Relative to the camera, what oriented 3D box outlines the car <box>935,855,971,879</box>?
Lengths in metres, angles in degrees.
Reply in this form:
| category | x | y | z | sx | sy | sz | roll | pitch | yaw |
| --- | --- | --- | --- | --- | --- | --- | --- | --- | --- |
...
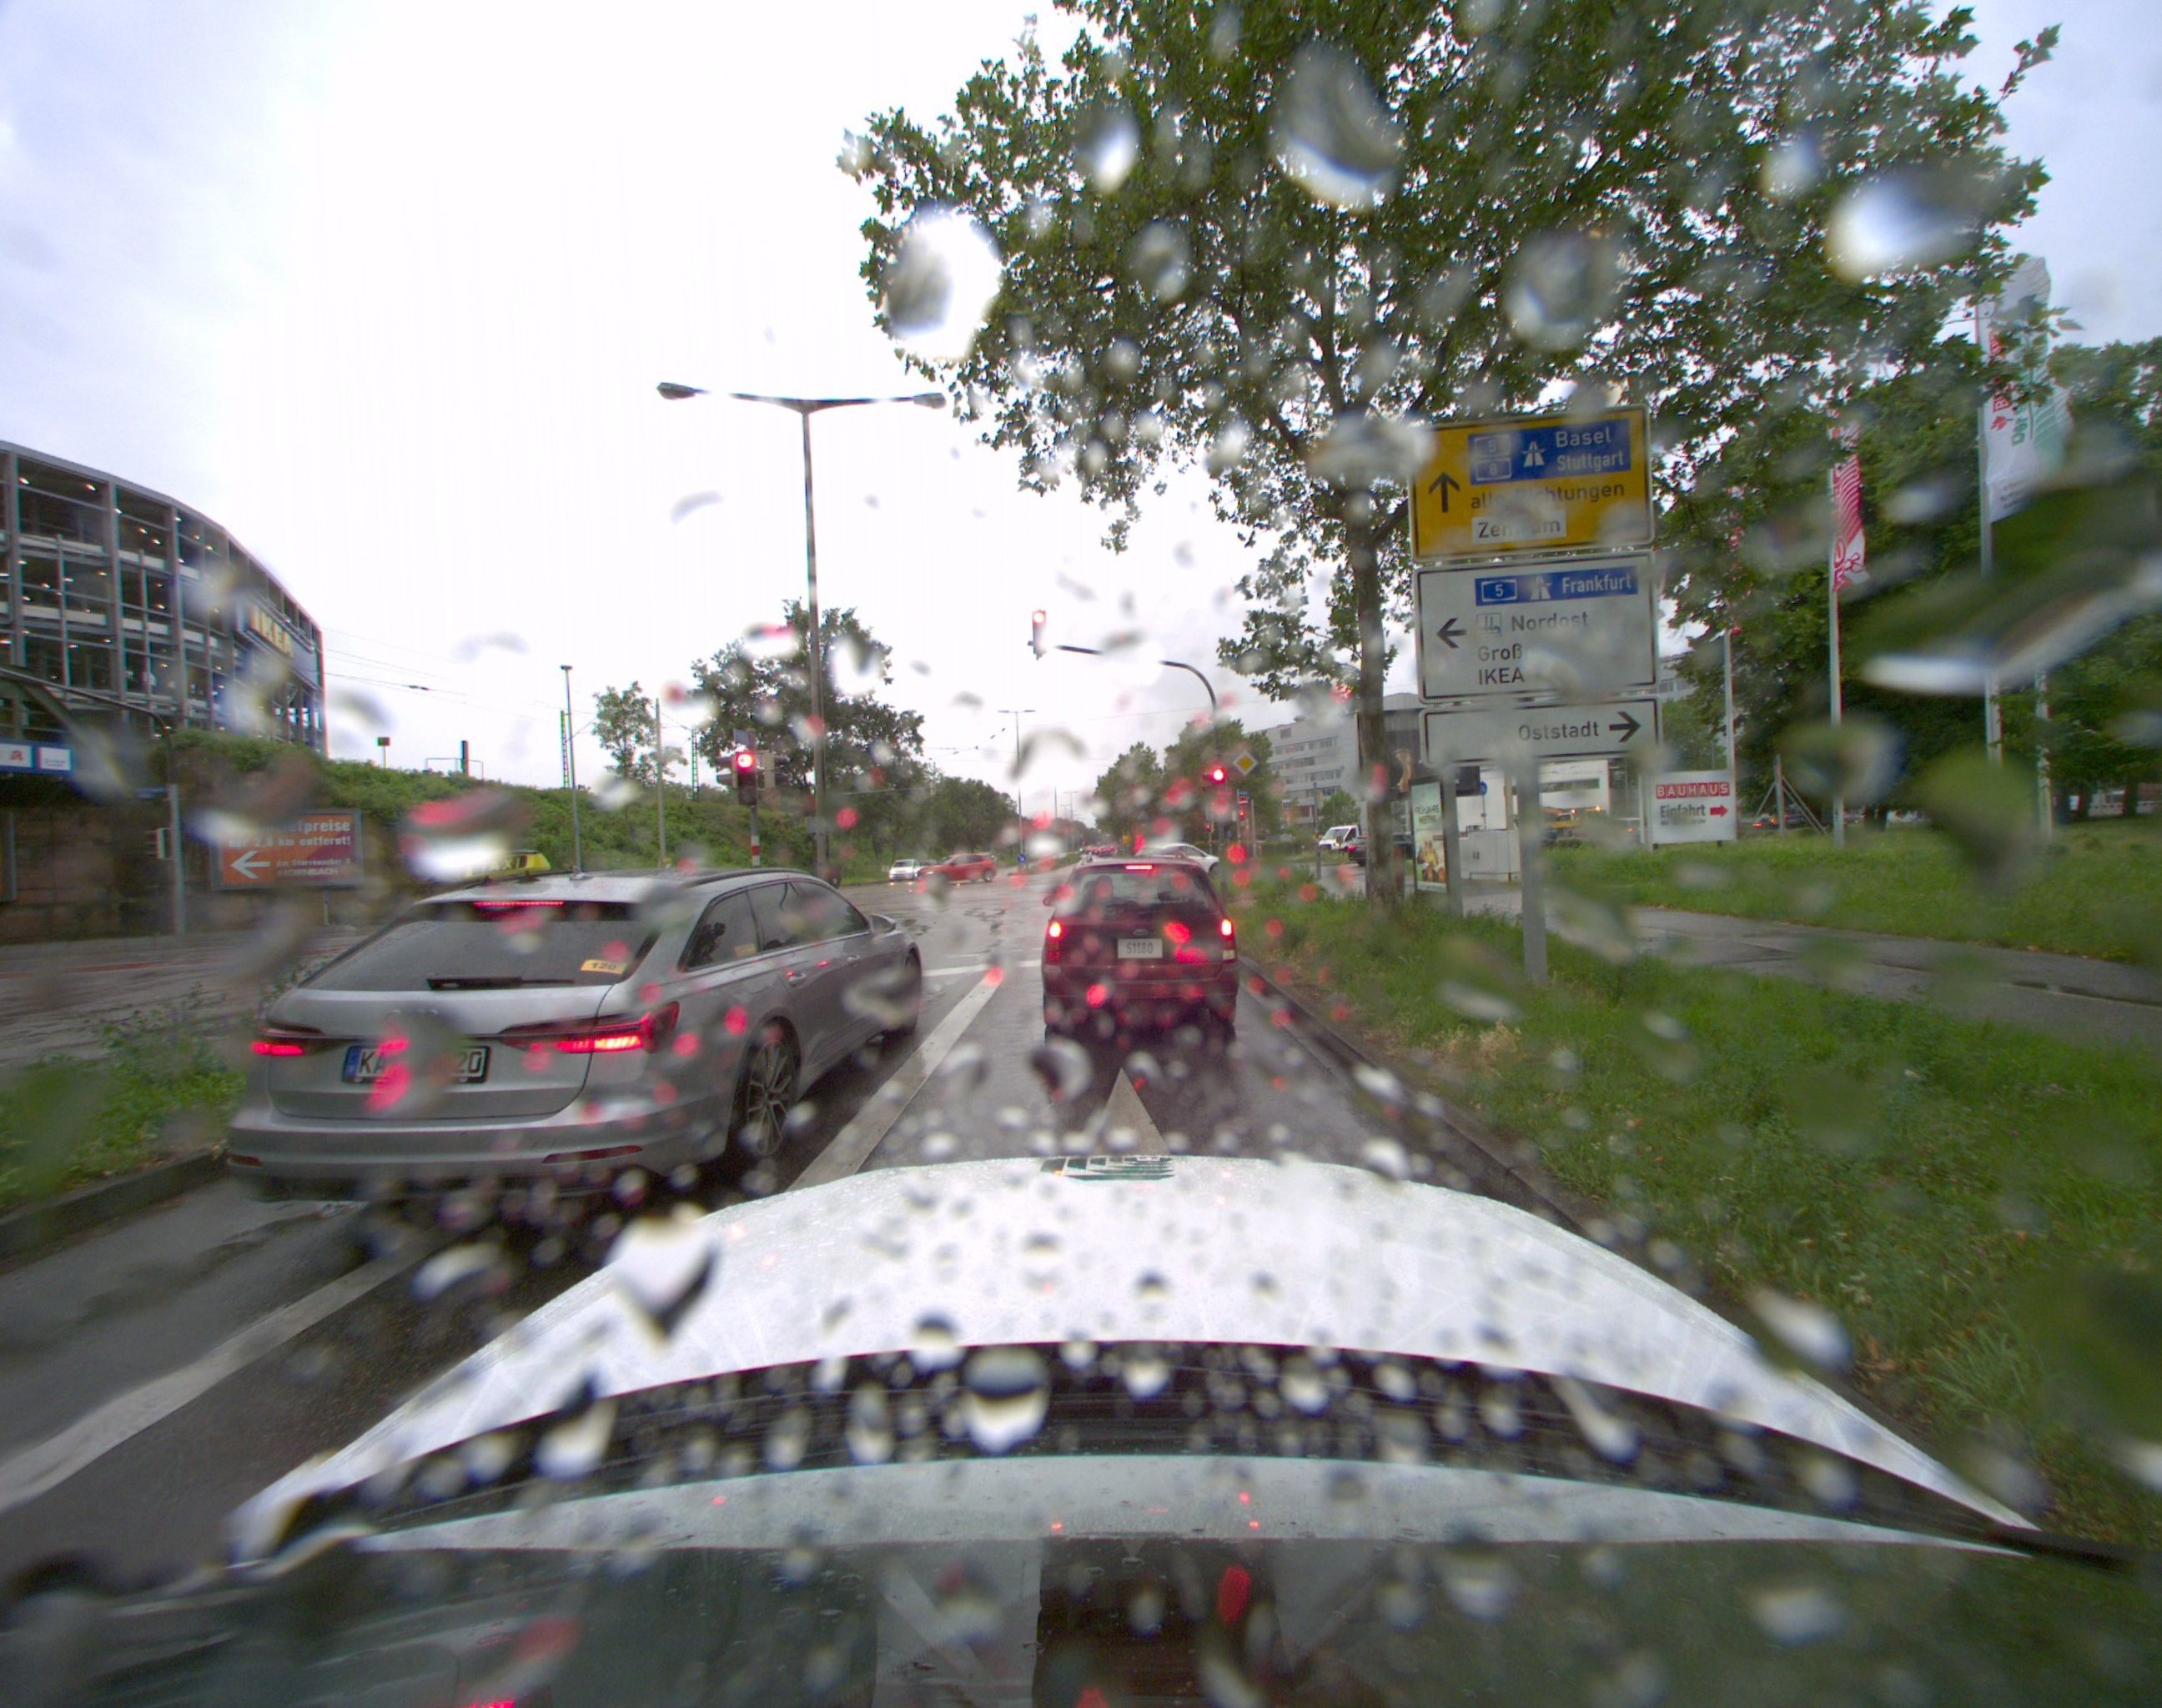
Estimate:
| category | x | y | z | sx | sy | sz | roll | pitch | yaw |
| --- | --- | --- | --- | --- | --- | --- | --- | --- | --- |
| car | -8.849 | 0.892 | 56.753 | 1.706 | 1.530 | 4.002 | -3 | 0 | 2 |

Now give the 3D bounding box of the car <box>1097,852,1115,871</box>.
| category | x | y | z | sx | sy | sz | roll | pitch | yaw |
| --- | --- | --- | --- | --- | --- | --- | --- | --- | --- |
| car | 3.012 | 0.878 | 96.370 | 1.986 | 2.013 | 4.002 | -3 | 0 | 2 |

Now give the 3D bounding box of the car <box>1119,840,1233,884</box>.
| category | x | y | z | sx | sy | sz | roll | pitch | yaw |
| --- | --- | --- | --- | --- | --- | --- | --- | --- | --- |
| car | 3.782 | 0.308 | 32.257 | 4.074 | 1.521 | 1.981 | -3 | 0 | -29 |

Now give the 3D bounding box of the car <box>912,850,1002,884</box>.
| category | x | y | z | sx | sy | sz | roll | pitch | yaw |
| --- | --- | --- | --- | --- | --- | --- | --- | --- | --- |
| car | -6.101 | 0.633 | 40.206 | 4.018 | 1.429 | 1.699 | -3 | 0 | -36 |

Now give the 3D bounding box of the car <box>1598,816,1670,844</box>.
| category | x | y | z | sx | sy | sz | roll | pitch | yaw |
| --- | --- | --- | --- | --- | --- | --- | --- | --- | --- |
| car | 34.337 | -1.507 | 50.542 | 4.398 | 1.537 | 1.786 | -3 | 0 | -28 |

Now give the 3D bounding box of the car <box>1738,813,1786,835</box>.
| category | x | y | z | sx | sy | sz | roll | pitch | yaw |
| --- | --- | --- | --- | --- | --- | --- | --- | --- | --- |
| car | 54.974 | -2.430 | 65.695 | 4.405 | 1.537 | 1.783 | -3 | 0 | -34 |

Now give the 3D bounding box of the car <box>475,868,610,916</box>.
| category | x | y | z | sx | sy | sz | roll | pitch | yaw |
| --- | --- | --- | --- | --- | --- | --- | --- | --- | --- |
| car | -19.877 | 1.362 | 30.108 | 4.019 | 1.486 | 1.798 | -2 | 0 | -37 |

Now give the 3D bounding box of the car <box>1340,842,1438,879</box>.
| category | x | y | z | sx | sy | sz | roll | pitch | yaw |
| --- | --- | --- | --- | --- | --- | --- | --- | --- | --- |
| car | 14.510 | 0.305 | 38.340 | 4.398 | 1.537 | 1.786 | -3 | 0 | -28 |

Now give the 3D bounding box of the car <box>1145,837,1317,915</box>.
| category | x | y | z | sx | sy | sz | roll | pitch | yaw |
| --- | --- | --- | --- | --- | --- | --- | --- | --- | --- |
| car | 3.874 | 0.482 | 20.633 | 4.409 | 1.537 | 1.781 | -5 | 3 | -38 |

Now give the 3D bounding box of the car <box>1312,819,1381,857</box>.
| category | x | y | z | sx | sy | sz | roll | pitch | yaw |
| --- | --- | --- | --- | --- | --- | --- | --- | --- | --- |
| car | 17.446 | -1.063 | 53.456 | 4.405 | 2.190 | 1.783 | -5 | 1 | -33 |

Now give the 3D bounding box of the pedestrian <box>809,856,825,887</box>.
| category | x | y | z | sx | sy | sz | roll | pitch | yaw |
| --- | --- | --- | --- | --- | --- | --- | --- | --- | --- |
| pedestrian | -15.063 | 1.005 | 46.473 | 0.528 | 1.786 | 0.676 | -1 | -1 | 19 |

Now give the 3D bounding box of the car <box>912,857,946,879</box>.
| category | x | y | z | sx | sy | sz | roll | pitch | yaw |
| --- | --- | --- | --- | --- | --- | --- | --- | --- | --- |
| car | -11.561 | 1.067 | 62.139 | 1.706 | 1.530 | 4.002 | -3 | 0 | 2 |

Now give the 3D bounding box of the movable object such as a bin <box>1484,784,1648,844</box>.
| category | x | y | z | sx | sy | sz | roll | pitch | yaw |
| --- | --- | --- | --- | --- | --- | --- | --- | --- | --- |
| movable object such as a bin | 58.242 | -4.534 | 98.492 | 8.296 | 6.283 | 14.818 | 0 | -1 | -32 |

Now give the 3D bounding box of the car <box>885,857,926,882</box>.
| category | x | y | z | sx | sy | sz | roll | pitch | yaw |
| --- | --- | --- | --- | --- | --- | --- | --- | --- | --- |
| car | -11.942 | 1.013 | 55.605 | 1.706 | 1.530 | 4.002 | -3 | 0 | 2 |

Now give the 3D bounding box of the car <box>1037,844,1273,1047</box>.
| category | x | y | z | sx | sy | sz | roll | pitch | yaw |
| --- | --- | --- | --- | --- | --- | --- | --- | --- | --- |
| car | 0.637 | 0.702 | 8.446 | 1.789 | 1.537 | 4.389 | -1 | 0 | 2 |

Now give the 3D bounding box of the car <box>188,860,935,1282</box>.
| category | x | y | z | sx | sy | sz | roll | pitch | yaw |
| --- | --- | --- | --- | --- | --- | --- | --- | --- | --- |
| car | -2.275 | 0.792 | 5.199 | 1.684 | 1.433 | 4.576 | -2 | 0 | 2 |

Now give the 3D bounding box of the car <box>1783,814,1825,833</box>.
| category | x | y | z | sx | sy | sz | roll | pitch | yaw |
| --- | --- | --- | --- | --- | --- | --- | --- | --- | --- |
| car | 64.434 | -2.711 | 72.578 | 4.405 | 1.537 | 1.783 | -3 | 0 | -35 |
